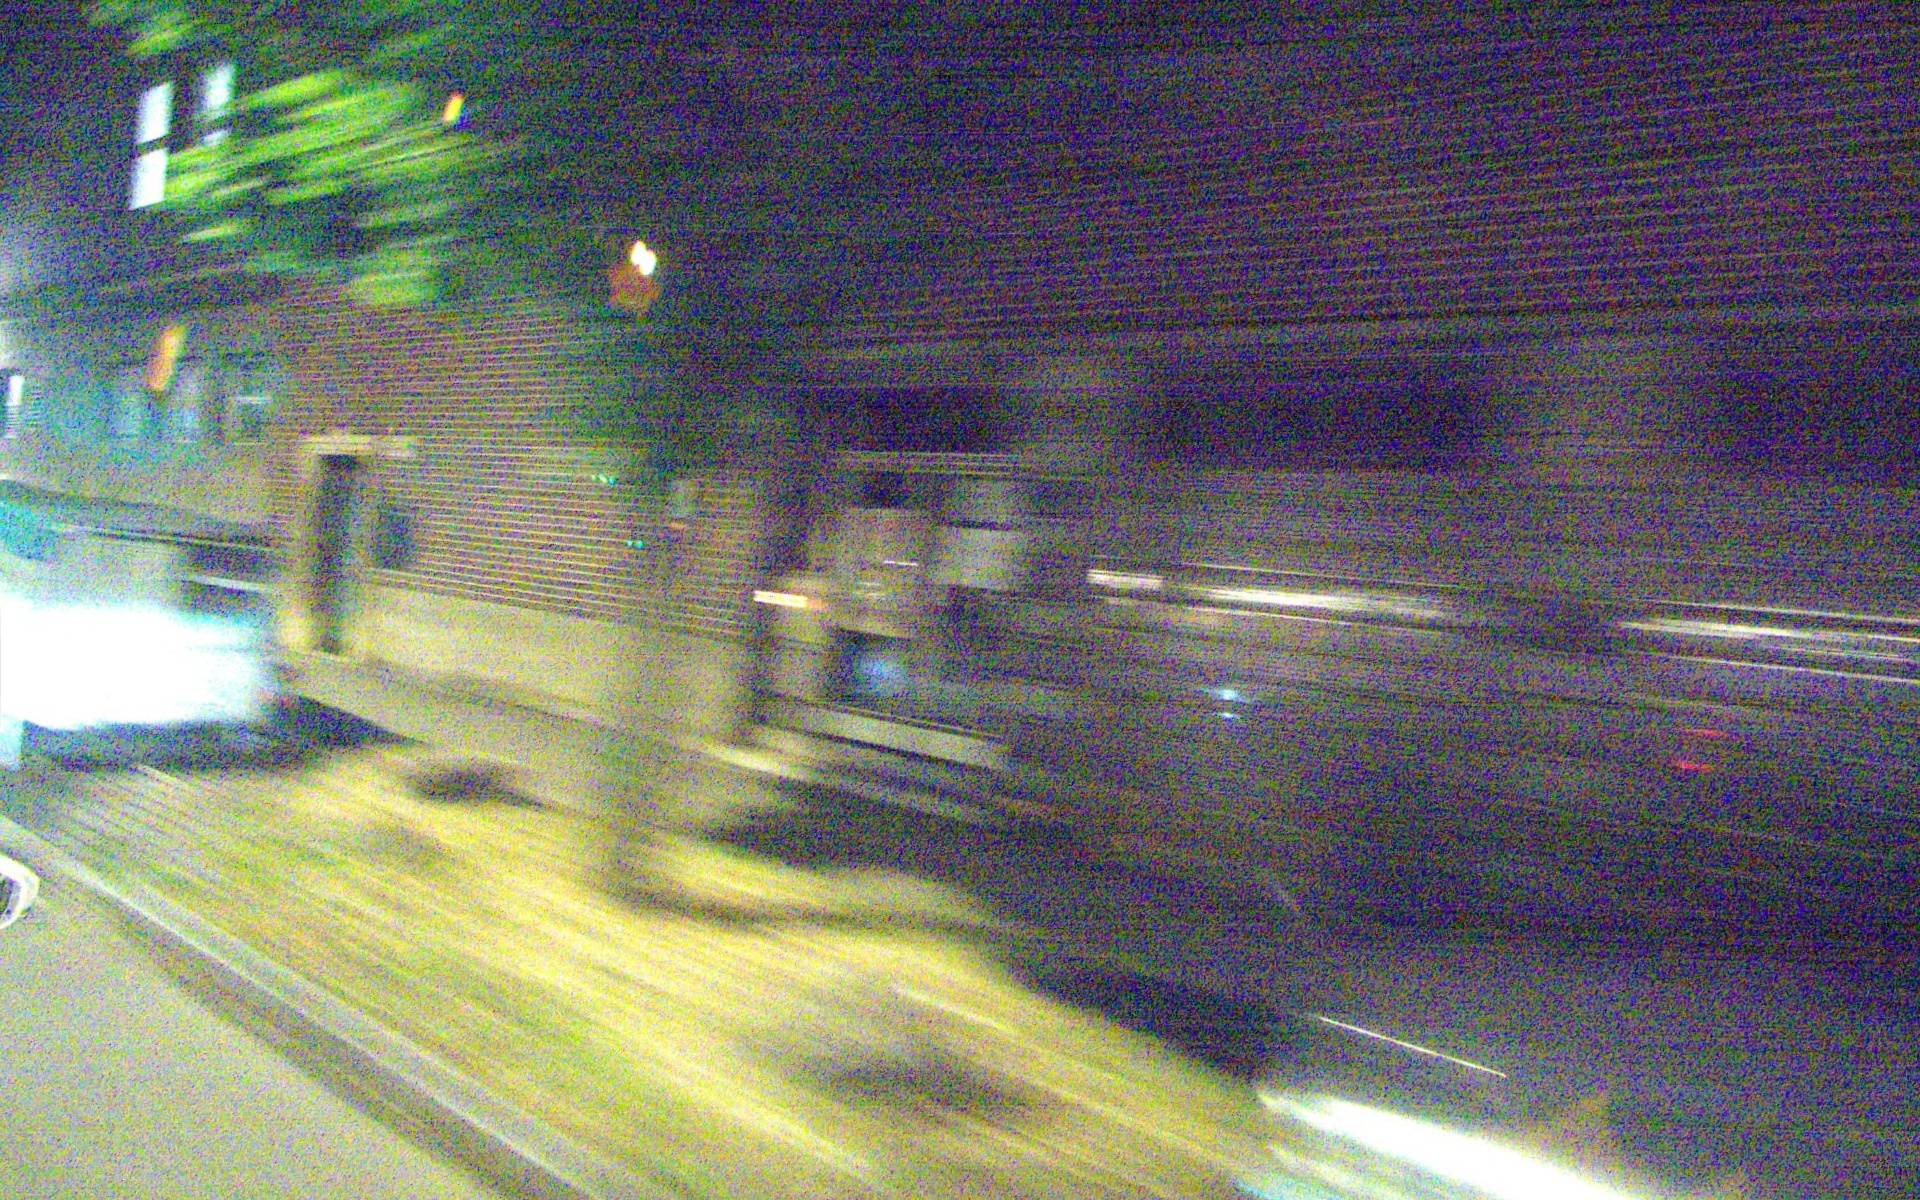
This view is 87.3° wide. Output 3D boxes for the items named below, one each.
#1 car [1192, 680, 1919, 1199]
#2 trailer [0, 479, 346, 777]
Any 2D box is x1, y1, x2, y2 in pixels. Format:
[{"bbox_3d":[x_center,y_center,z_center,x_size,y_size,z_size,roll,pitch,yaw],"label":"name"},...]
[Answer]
[{"bbox_3d":[2.712,1.115,1.337,4.350,1.377,1.776,7,2,33],"label":"car"},{"bbox_3d":[-5.897,0.049,6.800,3.676,1.513,1.601,7,0,36],"label":"trailer"}]
